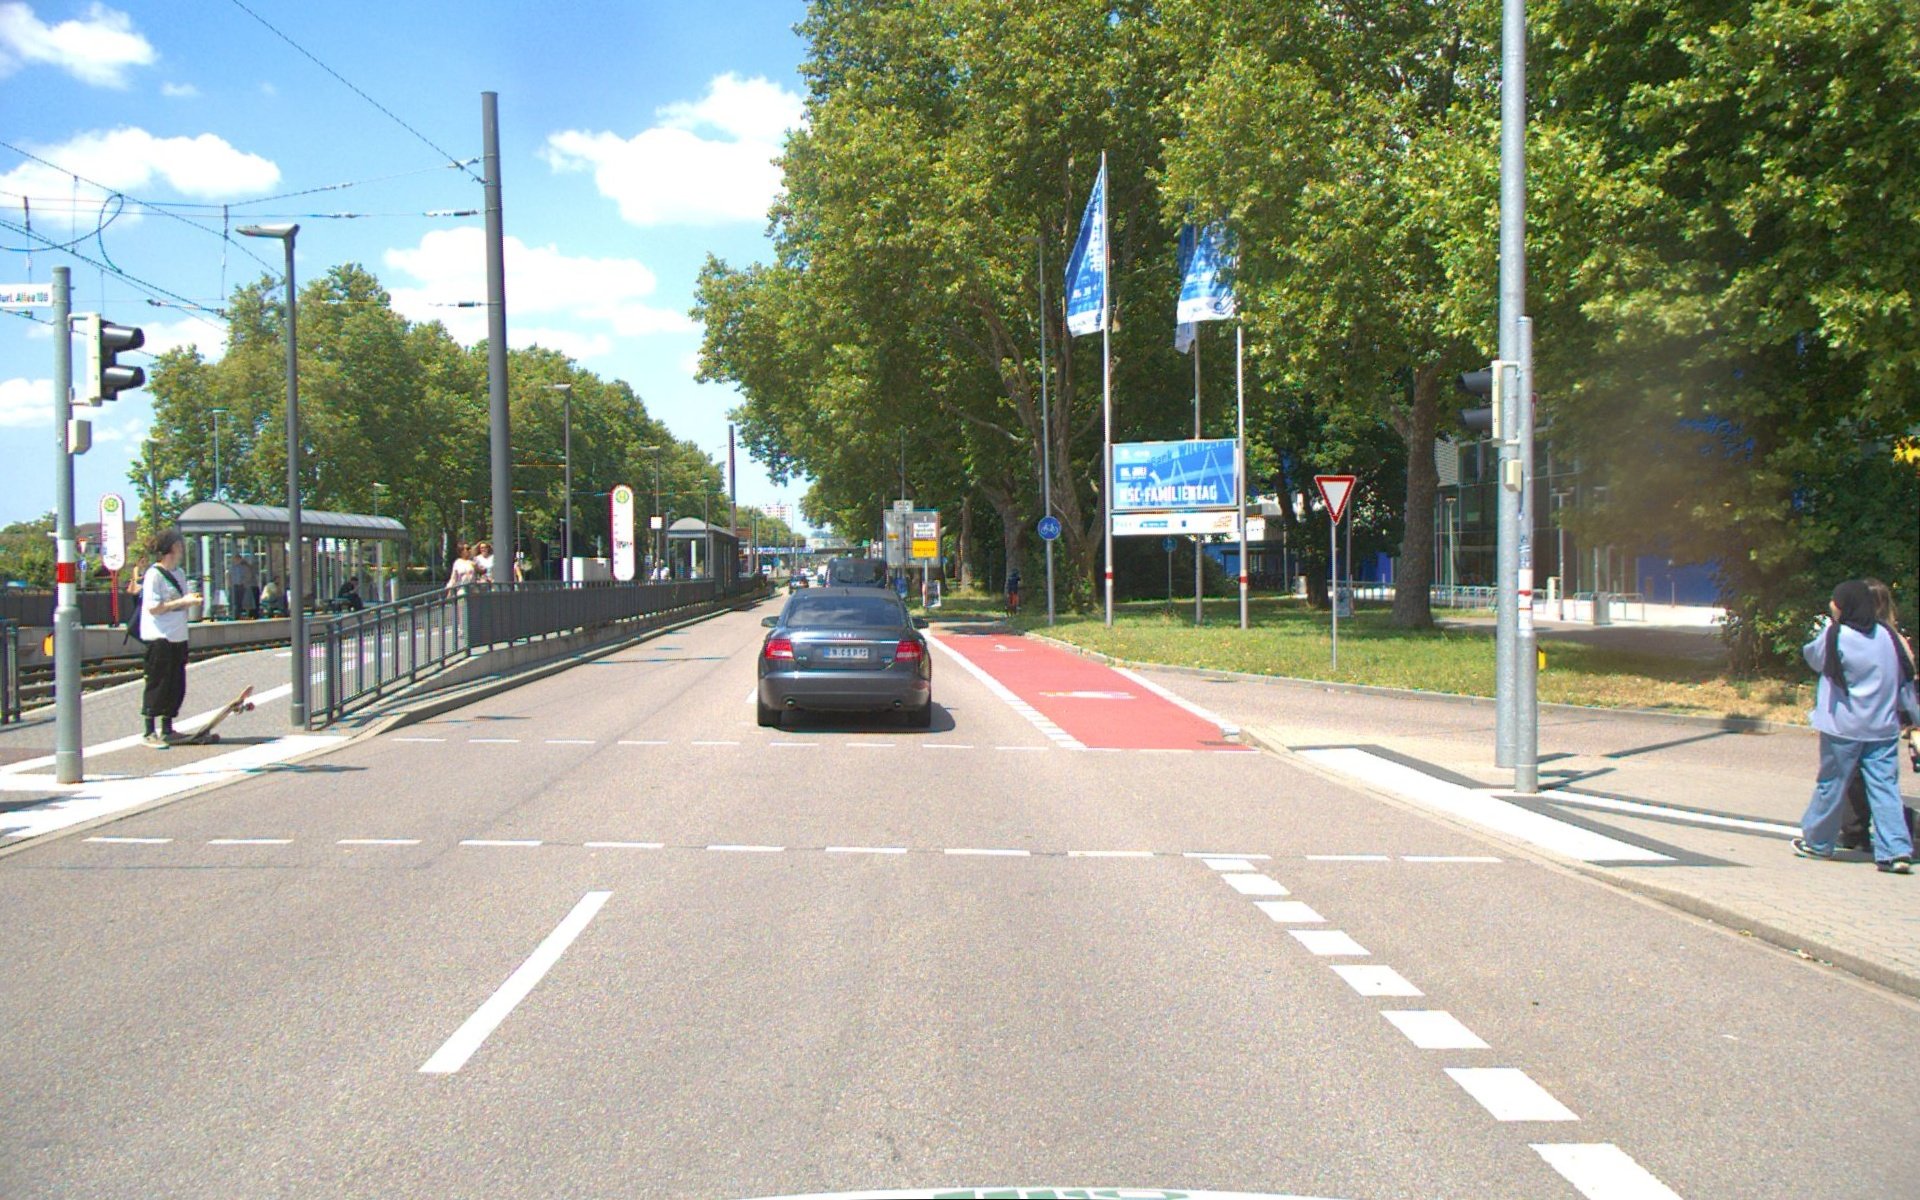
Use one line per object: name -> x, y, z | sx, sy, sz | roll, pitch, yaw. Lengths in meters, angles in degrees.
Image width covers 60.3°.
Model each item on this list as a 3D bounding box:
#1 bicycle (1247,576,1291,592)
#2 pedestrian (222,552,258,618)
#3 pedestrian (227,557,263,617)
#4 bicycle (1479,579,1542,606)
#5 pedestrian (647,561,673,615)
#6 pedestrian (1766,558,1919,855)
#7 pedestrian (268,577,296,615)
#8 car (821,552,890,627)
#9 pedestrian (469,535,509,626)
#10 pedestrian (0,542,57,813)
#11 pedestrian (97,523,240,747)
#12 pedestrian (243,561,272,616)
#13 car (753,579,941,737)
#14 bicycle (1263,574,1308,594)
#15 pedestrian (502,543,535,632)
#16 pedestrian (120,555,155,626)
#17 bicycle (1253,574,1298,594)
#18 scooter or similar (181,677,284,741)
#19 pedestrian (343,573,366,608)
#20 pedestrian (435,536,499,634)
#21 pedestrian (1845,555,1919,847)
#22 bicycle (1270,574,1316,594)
bicycle -> 18.495, -0.953, 98.953 | 2.498, 0.987, 0.757 | 0, 1, -9
pedestrian -> -19.532, -0.407, 44.878 | 0.723, 1.759, 0.577 | 0, 1, 33
pedestrian -> -20.013, -0.375, 46.288 | 0.811, 1.667, 0.577 | 0, 1, 33
bicycle -> 20.068, -0.279, 60.328 | 2.021, 0.986, 0.867 | 0, 1, -8
pedestrian -> -9.468, -0.390, 52.200 | 0.718, 1.694, 0.741 | 0, 1, -5
pedestrian -> 5.198, 0.582, 9.596 | 0.749, 1.634, 0.897 | 1, 1, 14
pedestrian -> -20.053, -0.114, 48.946 | 0.565, 1.113, 0.638 | 0, 1, -4
car -> -2.909, -0.296, 46.545 | 1.811, 1.993, 4.143 | 1, 1, -2
pedestrian -> -9.026, -0.371, 31.697 | 0.601, 1.710, 0.719 | 1, 0, -6
pedestrian -> -6.086, 0.450, 10.096 | 0.770, 1.600, 0.763 | 0, 0, -7
pedestrian -> -6.697, 0.281, 14.037 | 0.846, 1.833, 0.882 | 0, 0, -8
pedestrian -> -19.996, -0.325, 47.062 | 0.565, 1.560, 0.638 | 0, 1, -4
car -> -1.304, 0.546, 18.037 | 1.807, 1.510, 3.995 | 1, 1, -6
bicycle -> 18.978, -0.930, 96.439 | 2.498, 1.130, 0.757 | 0, 1, -9
pedestrian -> -8.102, -0.234, 30.377 | 0.487, 1.605, 0.556 | 0, 1, -6
pedestrian -> -19.531, -0.229, 39.274 | 0.547, 1.666, 0.804 | 0, 1, -11
bicycle -> 18.645, -0.943, 97.692 | 2.498, 1.130, 0.757 | 0, 1, -9
scooter or similar -> -6.320, 0.944, 14.384 | 0.712, 0.514, 0.457 | 0, 1, -7
pedestrian -> -20.682, -0.329, 56.492 | 0.565, 1.211, 0.638 | 0, 1, -4
pedestrian -> -8.369, -0.258, 28.098 | 0.873, 1.633, 0.923 | 0, 1, -5
pedestrian -> 5.814, 0.591, 10.028 | 0.609, 1.712, 0.726 | 1, 0, 14
bicycle -> 19.215, -0.919, 95.371 | 2.498, 1.130, 0.757 | 0, 1, -9
